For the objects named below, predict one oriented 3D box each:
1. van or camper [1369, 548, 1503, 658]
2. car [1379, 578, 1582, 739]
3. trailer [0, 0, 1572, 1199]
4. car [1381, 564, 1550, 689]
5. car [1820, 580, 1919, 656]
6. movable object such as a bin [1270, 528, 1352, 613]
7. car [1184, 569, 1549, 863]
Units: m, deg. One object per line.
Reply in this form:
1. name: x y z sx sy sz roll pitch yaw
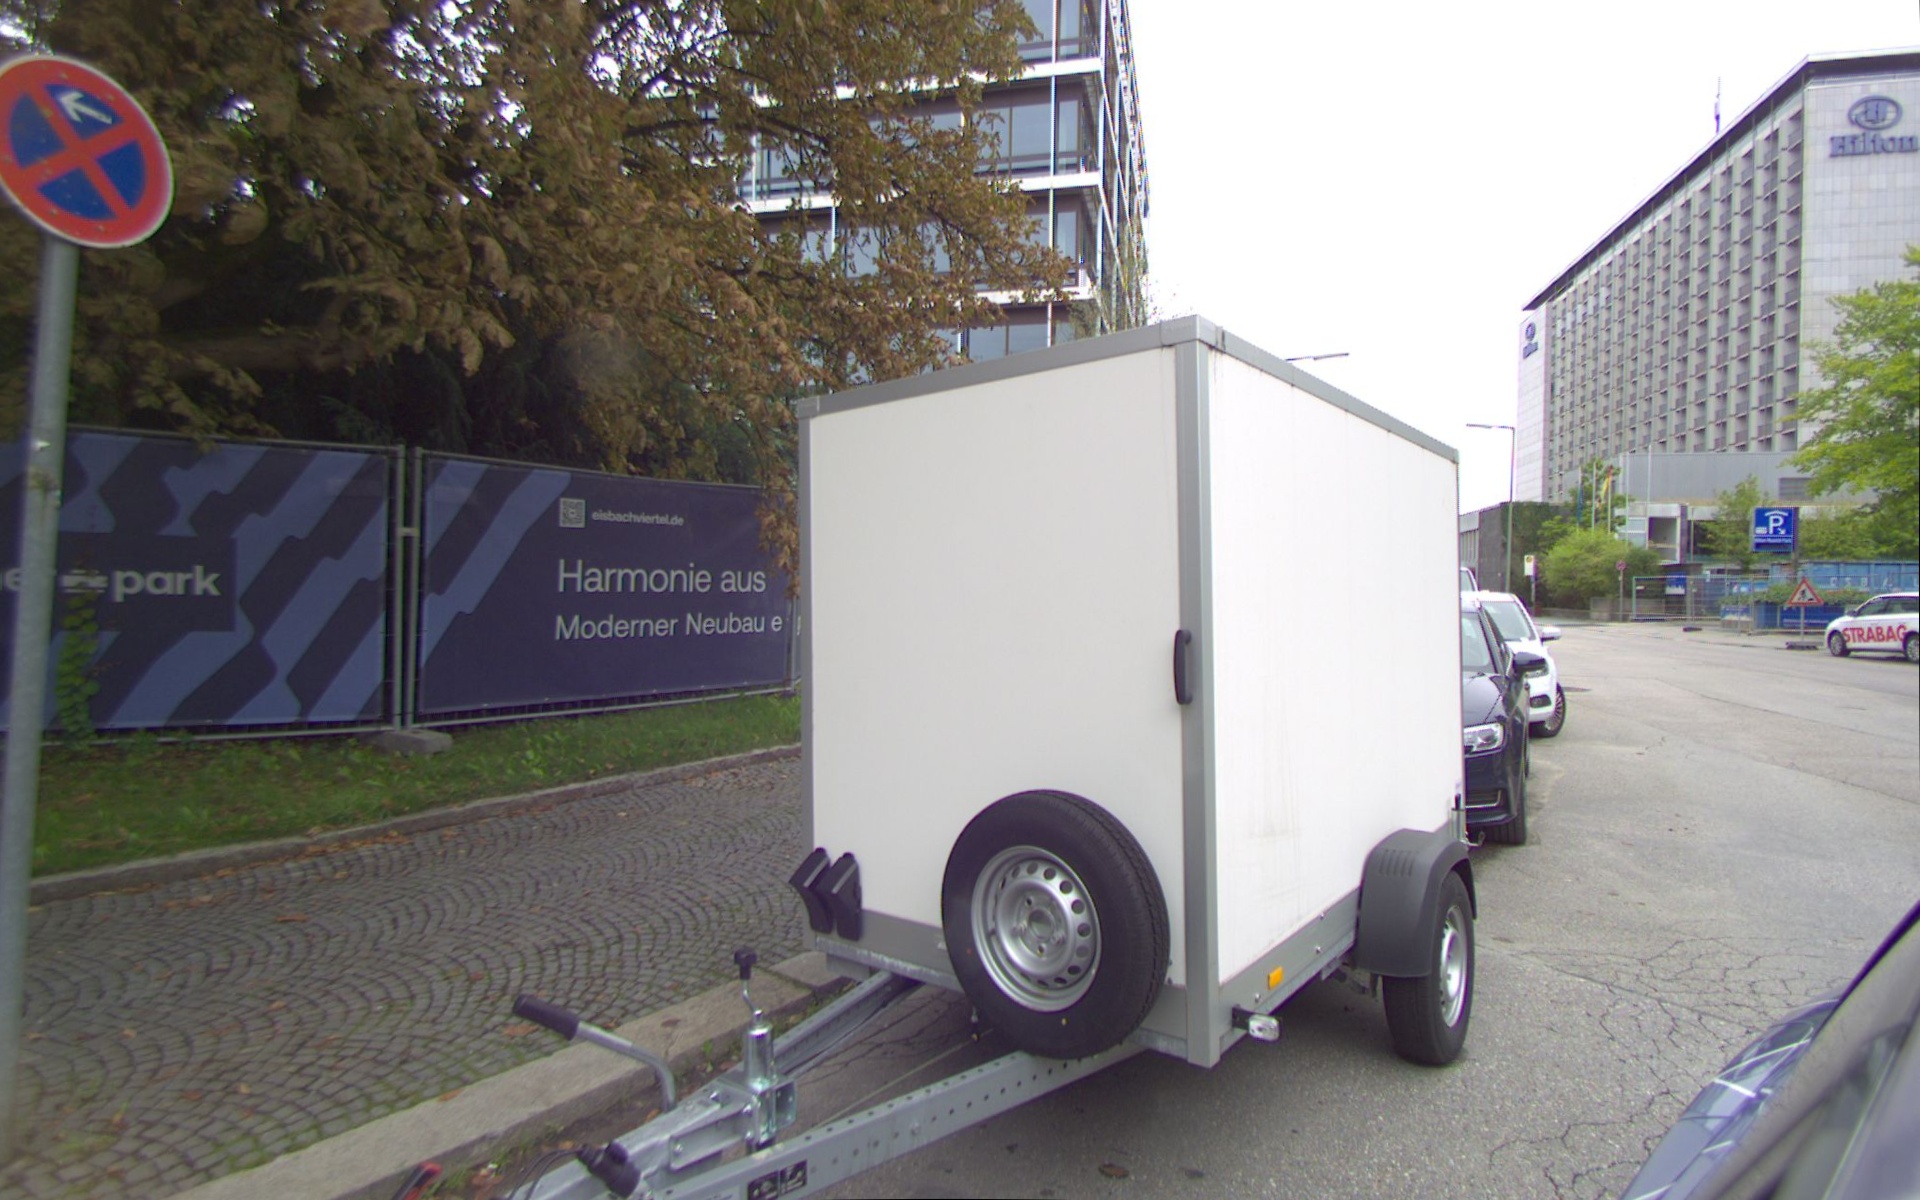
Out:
1. van or camper: 9.999 -0.020 21.654 1.974 2.038 5.344 1 1 19
2. car: 5.991 0.519 11.831 1.755 1.504 4.183 1 1 26
3. trailer: 0.293 0.269 3.005 1.807 2.038 4.762 1 2 41
4. car: 8.098 0.317 16.626 1.975 1.749 4.420 1 1 20
5. car: 20.888 0.372 21.782 1.754 1.569 4.243 1 1 12
6. movable object such as a bin: 16.951 -1.417 49.437 3.206 3.763 8.964 1 1 16
7. car: 3.236 0.558 7.458 1.863 1.455 4.282 2 1 30
